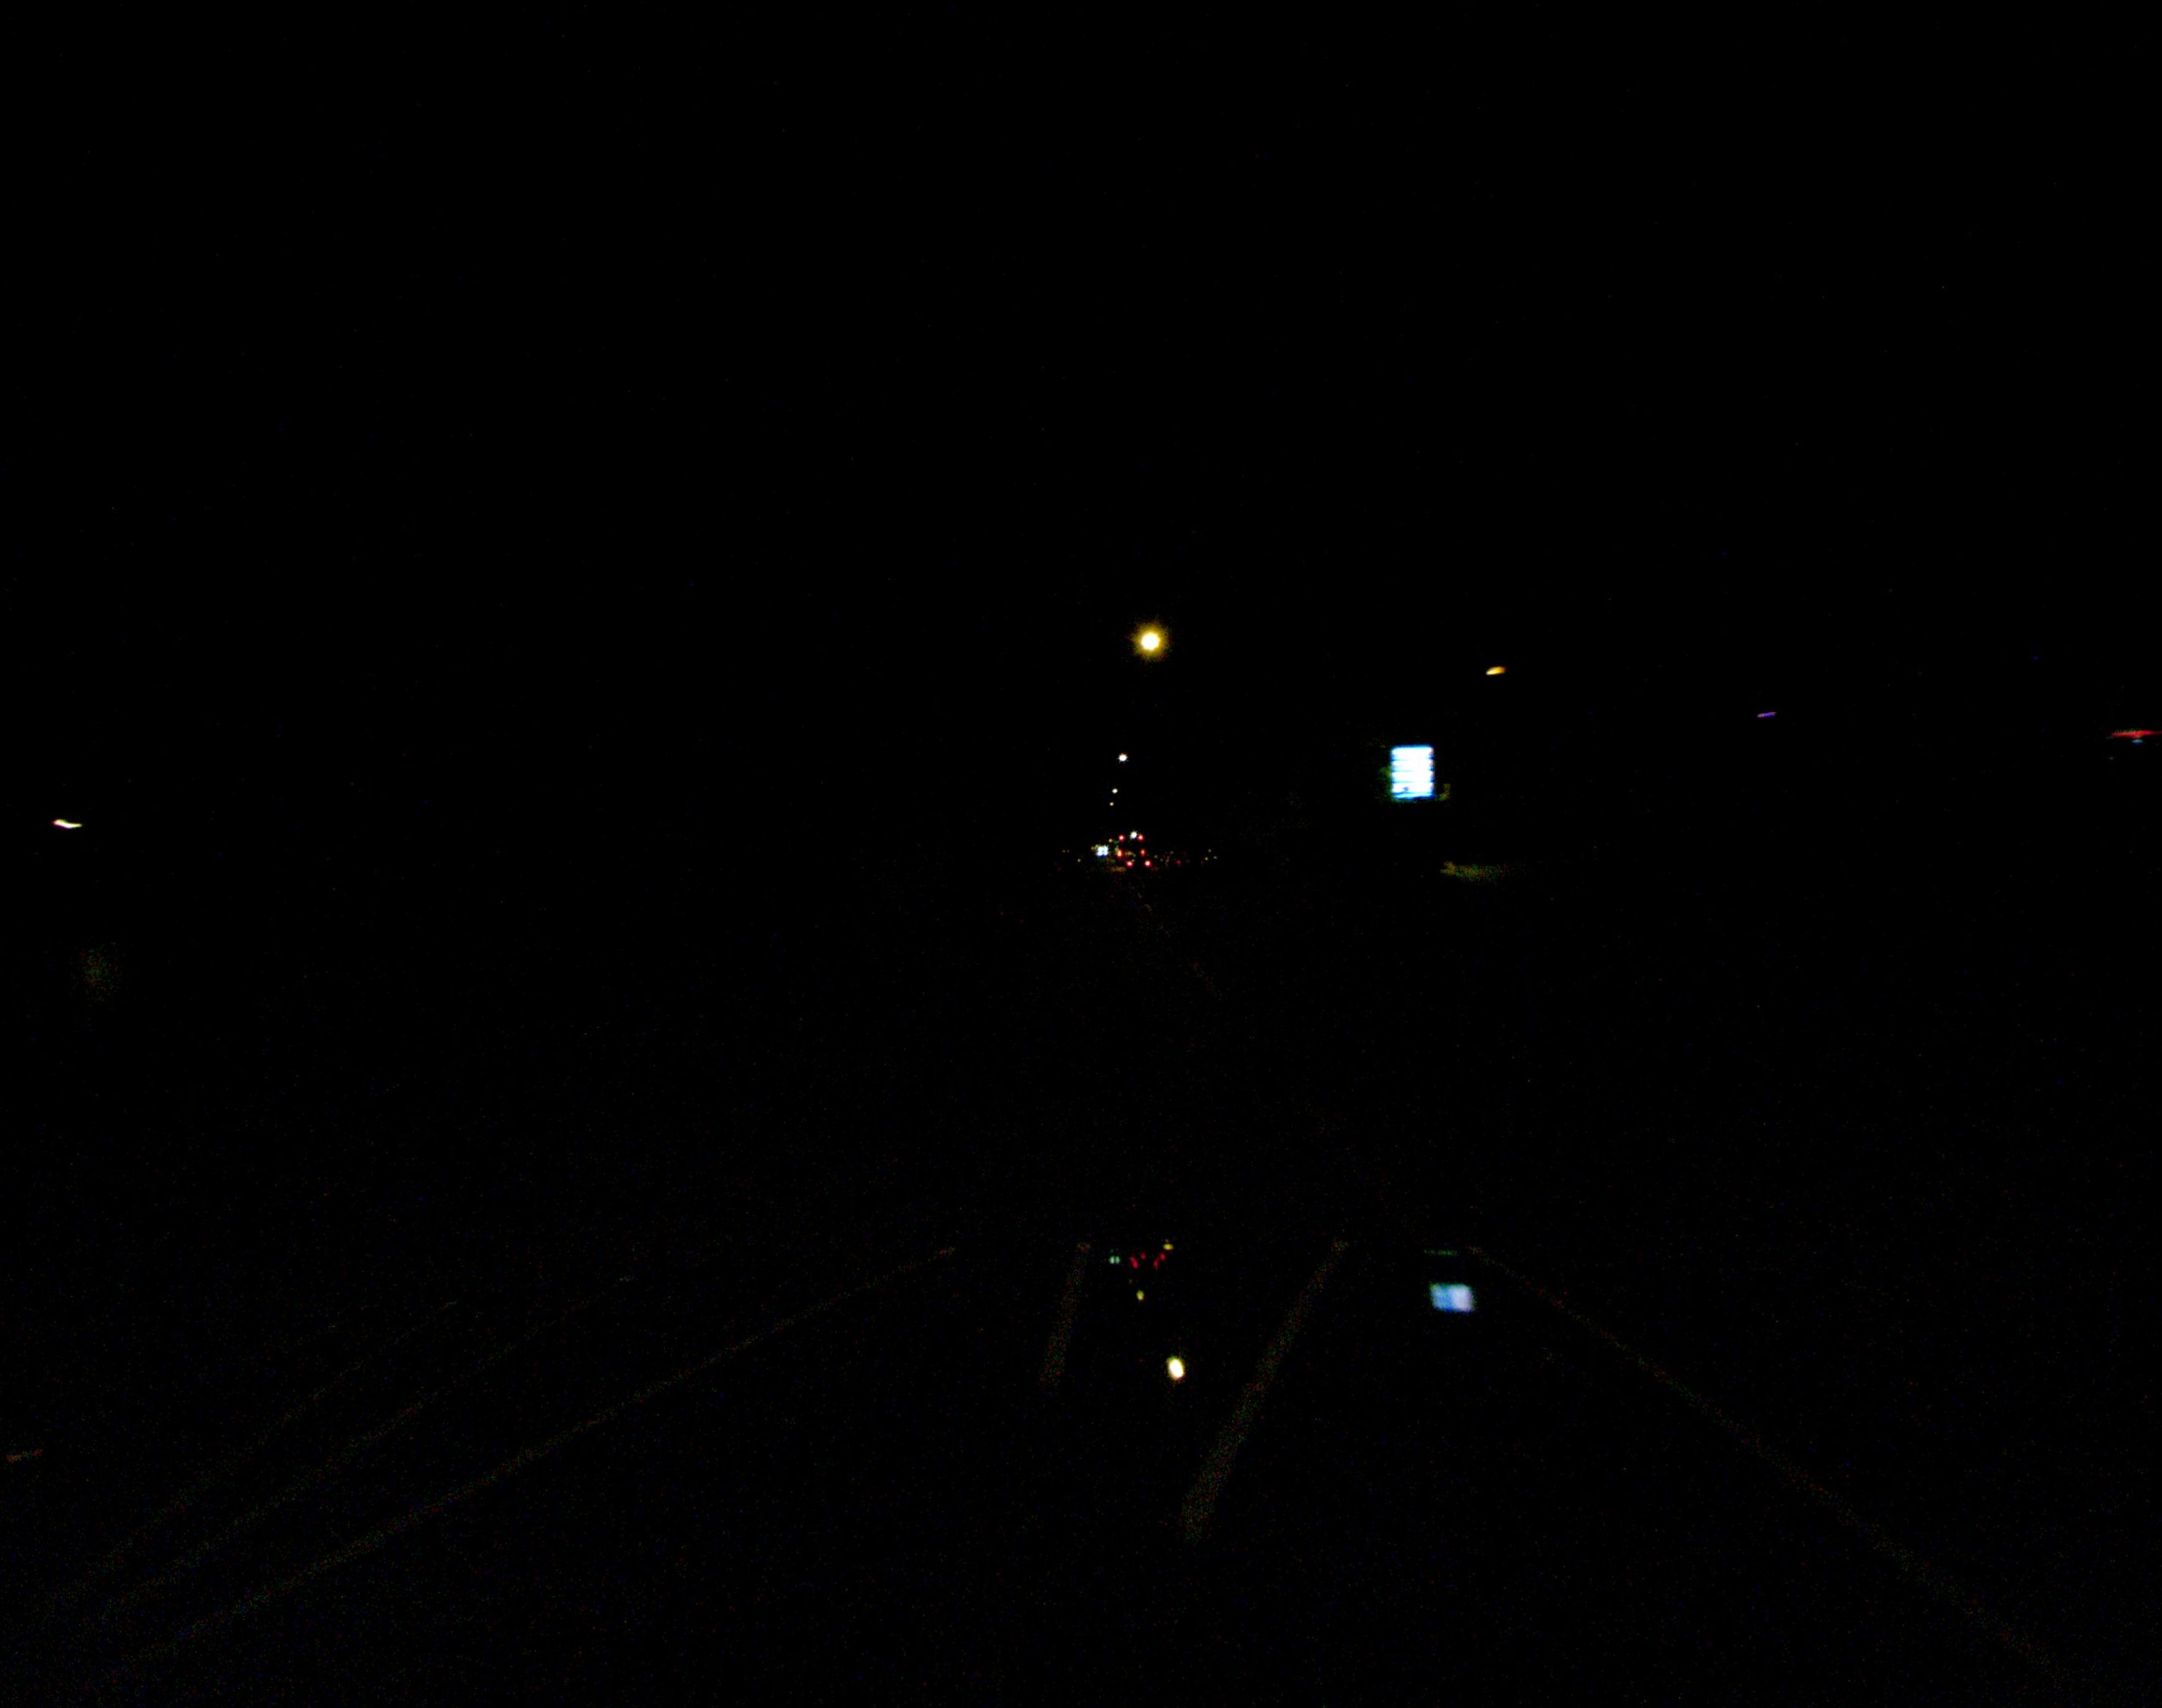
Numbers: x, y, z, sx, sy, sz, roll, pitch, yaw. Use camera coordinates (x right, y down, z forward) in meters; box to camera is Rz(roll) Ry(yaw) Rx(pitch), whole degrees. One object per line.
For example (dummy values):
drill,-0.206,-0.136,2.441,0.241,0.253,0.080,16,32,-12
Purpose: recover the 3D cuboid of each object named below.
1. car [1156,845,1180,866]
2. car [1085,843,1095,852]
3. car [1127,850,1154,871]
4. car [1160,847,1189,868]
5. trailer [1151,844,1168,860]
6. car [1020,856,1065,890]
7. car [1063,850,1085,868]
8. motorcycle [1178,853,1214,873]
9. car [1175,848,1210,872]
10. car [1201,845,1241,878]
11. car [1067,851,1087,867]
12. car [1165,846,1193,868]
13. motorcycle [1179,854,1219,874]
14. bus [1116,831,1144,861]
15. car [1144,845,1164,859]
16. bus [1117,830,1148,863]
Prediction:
car,8.047,0.144,70.664,1.998,1.740,4.000,-3,1,4
car,1.845,-1.427,160.549,1.916,1.816,4.899,-2,1,-1
car,4.249,0.417,54.914,1.649,1.414,3.870,-2,0,1
car,7.624,0.271,62.529,1.868,1.483,4.279,-3,1,1
trailer,8.511,-0.217,82.295,1.641,1.630,3.440,-3,1,6
car,-1.733,0.837,35.361,1.767,1.467,4.080,0,0,2
car,-0.578,0.421,68.033,1.775,1.439,4.019,-1,1,1
motorcycle,6.938,0.541,46.090,0.717,1.140,2.203,-2,1,-41
car,7.293,0.347,49.896,1.708,1.483,4.228,0,0,1
car,7.065,0.357,38.627,1.642,1.489,2.765,-2,1,3
car,-0.372,0.482,73.780,1.849,1.409,4.644,1,1,1
car,7.456,0.220,58.148,1.625,1.483,3.780,-3,1,1
motorcycle,6.823,0.571,44.074,2.203,1.124,0.717,-1,1,35
bus,5.595,-0.860,88.564,2.844,3.159,10.498,-3,0,2
car,8.315,-0.218,86.616,1.819,1.476,4.347,-2,1,0
bus,5.296,-0.763,79.473,2.844,3.159,7.661,-3,0,2
